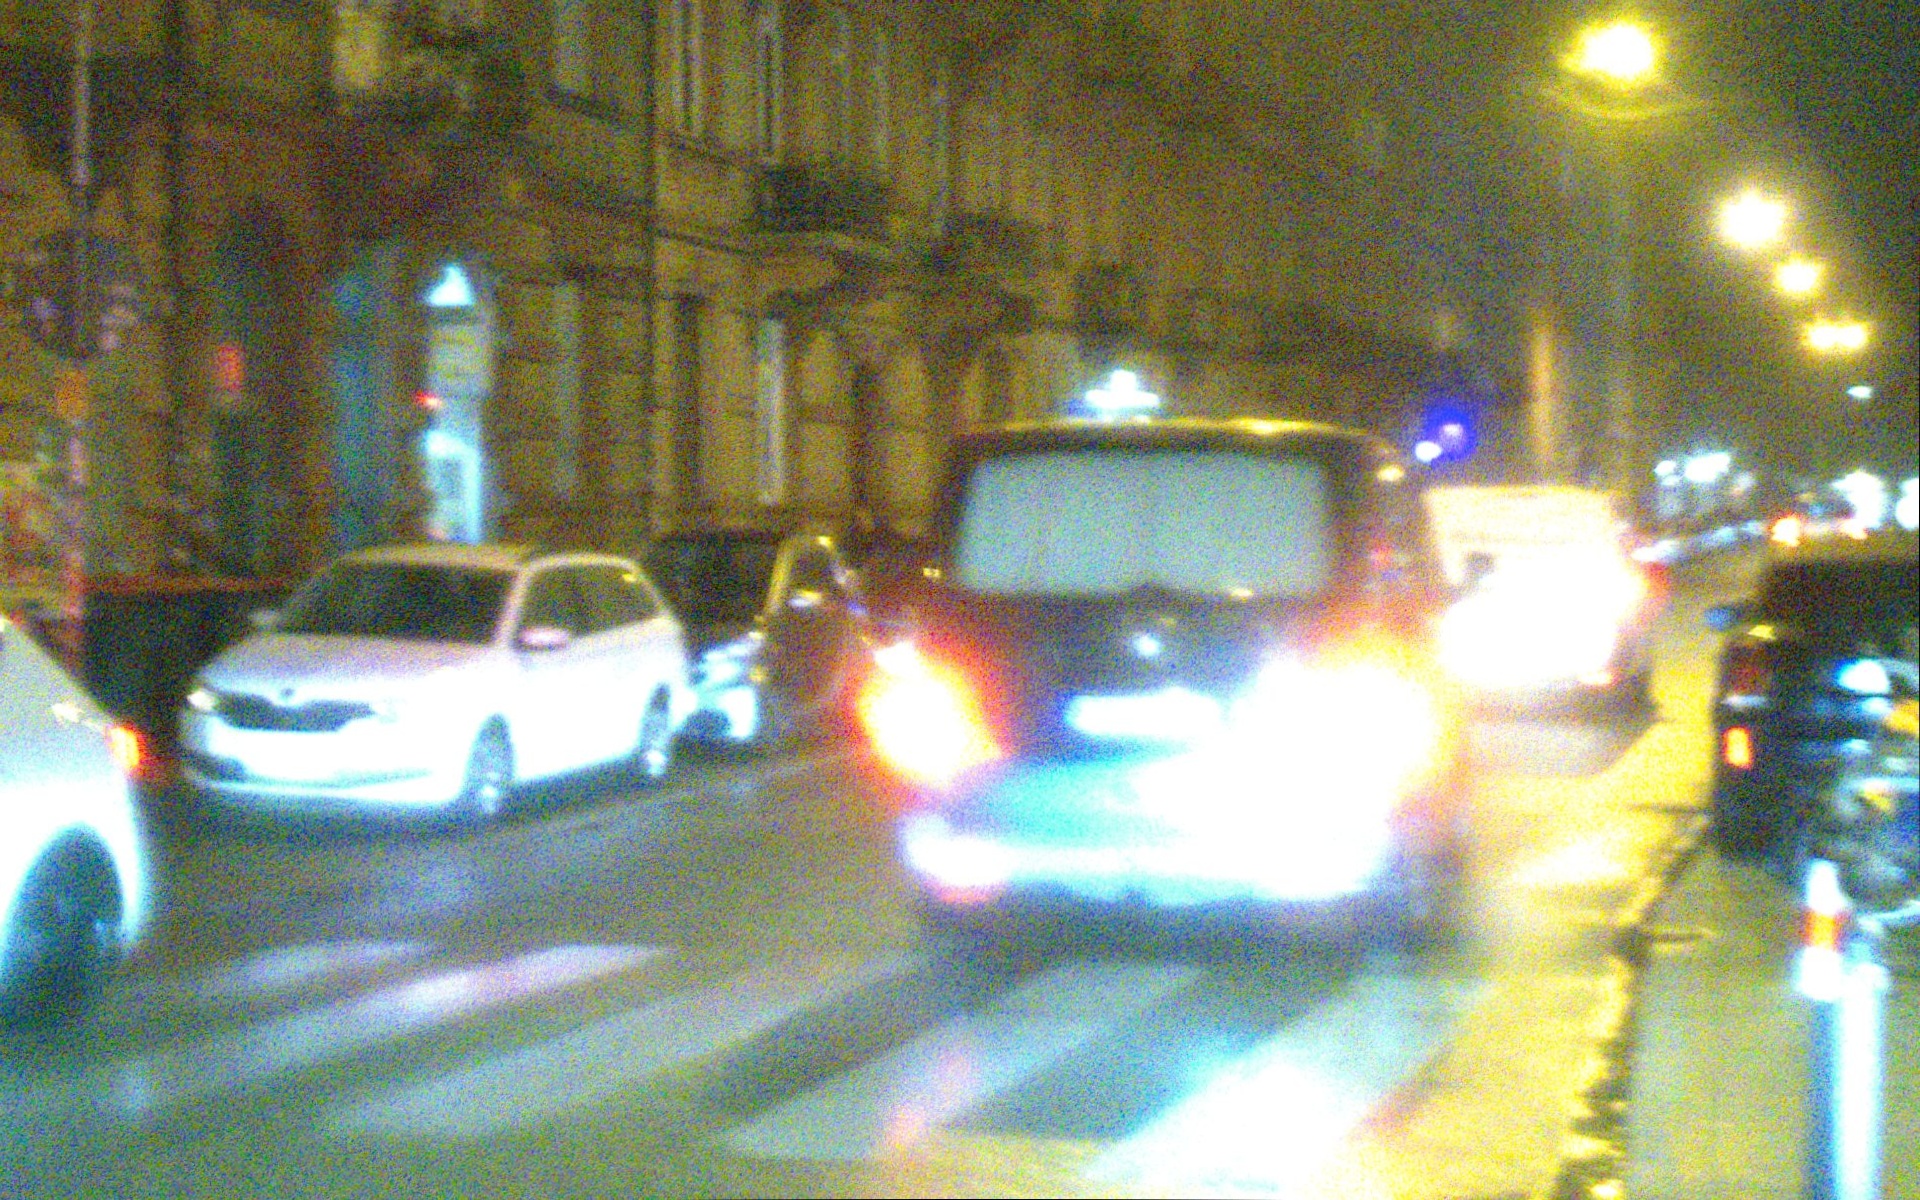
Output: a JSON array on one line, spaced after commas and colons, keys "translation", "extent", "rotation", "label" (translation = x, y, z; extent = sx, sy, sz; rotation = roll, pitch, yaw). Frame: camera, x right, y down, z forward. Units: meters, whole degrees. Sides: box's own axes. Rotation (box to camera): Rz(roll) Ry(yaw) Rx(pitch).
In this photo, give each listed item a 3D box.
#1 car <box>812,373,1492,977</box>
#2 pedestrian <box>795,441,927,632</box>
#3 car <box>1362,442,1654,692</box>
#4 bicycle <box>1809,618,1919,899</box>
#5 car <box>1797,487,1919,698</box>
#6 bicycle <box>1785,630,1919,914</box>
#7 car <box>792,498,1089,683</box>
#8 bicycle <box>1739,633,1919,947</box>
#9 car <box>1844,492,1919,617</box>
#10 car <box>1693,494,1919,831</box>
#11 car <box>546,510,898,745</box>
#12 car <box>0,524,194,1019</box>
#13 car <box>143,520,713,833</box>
[{"translation": [0.970, 0.162, 13.765], "extent": [2.123, 1.984, 4.599], "rotation": [1, 2, 11], "label": "car"}, {"translation": [-0.984, -0.646, 34.528], "extent": [1.032, 1.858, 0.976], "rotation": [2, 2, 15], "label": "pedestrian"}, {"translation": [4.772, -0.355, 29.382], "extent": [2.124, 1.915, 4.824], "rotation": [1, 2, 13], "label": "car"}, {"translation": [4.235, 0.620, 13.460], "extent": [1.763, 1.075, 0.435], "rotation": [0, 2, 15], "label": "bicycle"}, {"translation": [7.860, -0.078, 28.339], "extent": [1.754, 1.602, 3.987], "rotation": [2, 1, 15], "label": "car"}, {"translation": [4.327, 0.675, 14.114], "extent": [1.763, 1.121, 0.435], "rotation": [-3, 1, 15], "label": "bicycle"}, {"translation": [-0.105, -0.136, 29.483], "extent": [1.587, 1.444, 3.500], "rotation": [1, 2, 16], "label": "car"}, {"translation": [3.783, 0.692, 12.617], "extent": [1.784, 1.121, 0.435], "rotation": [0, 2, 15], "label": "bicycle"}, {"translation": [16.639, -0.736, 55.933], "extent": [3.987, 2.007, 2.000], "rotation": [0, 0, 0], "label": "car"}, {"translation": [4.897, 0.268, 18.189], "extent": [1.754, 1.560, 4.152], "rotation": [2, 1, 15], "label": "car"}, {"translation": [-1.616, 0.140, 24.166], "extent": [1.587, 1.504, 2.785], "rotation": [1, 2, 16], "label": "car"}, {"translation": [-3.912, 0.548, 9.271], "extent": [1.564, 1.422, 4.065], "rotation": [-1, 2, 22], "label": "car"}, {"translation": [-2.895, 0.340, 19.601], "extent": [1.587, 1.458, 4.021], "rotation": [4, 3, 16], "label": "car"}]
